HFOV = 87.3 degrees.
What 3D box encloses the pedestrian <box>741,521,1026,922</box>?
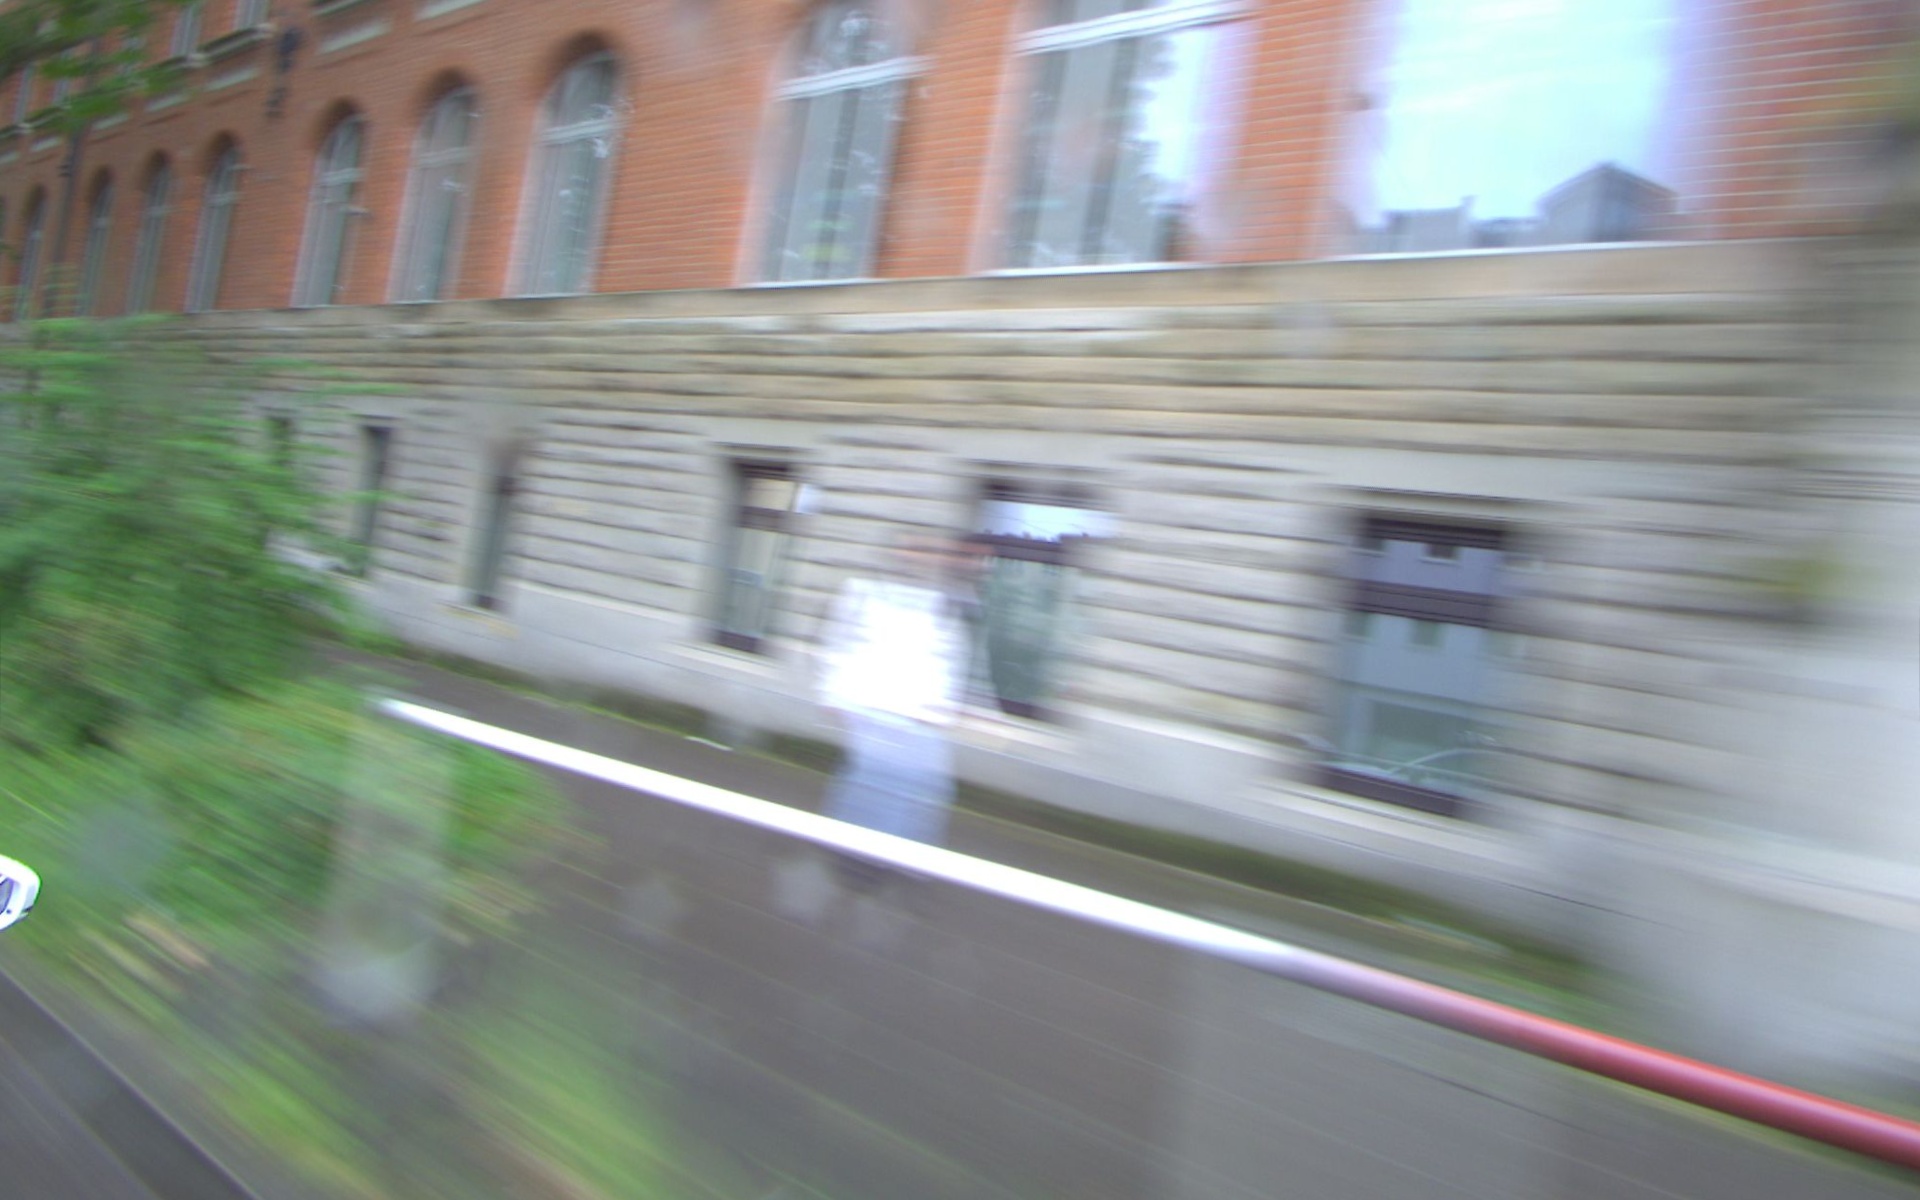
[{"bbox_3d":[-0.360,0.551,4.927,0.846,1.698,0.824,7,-1,35],"label":"pedestrian"}]
